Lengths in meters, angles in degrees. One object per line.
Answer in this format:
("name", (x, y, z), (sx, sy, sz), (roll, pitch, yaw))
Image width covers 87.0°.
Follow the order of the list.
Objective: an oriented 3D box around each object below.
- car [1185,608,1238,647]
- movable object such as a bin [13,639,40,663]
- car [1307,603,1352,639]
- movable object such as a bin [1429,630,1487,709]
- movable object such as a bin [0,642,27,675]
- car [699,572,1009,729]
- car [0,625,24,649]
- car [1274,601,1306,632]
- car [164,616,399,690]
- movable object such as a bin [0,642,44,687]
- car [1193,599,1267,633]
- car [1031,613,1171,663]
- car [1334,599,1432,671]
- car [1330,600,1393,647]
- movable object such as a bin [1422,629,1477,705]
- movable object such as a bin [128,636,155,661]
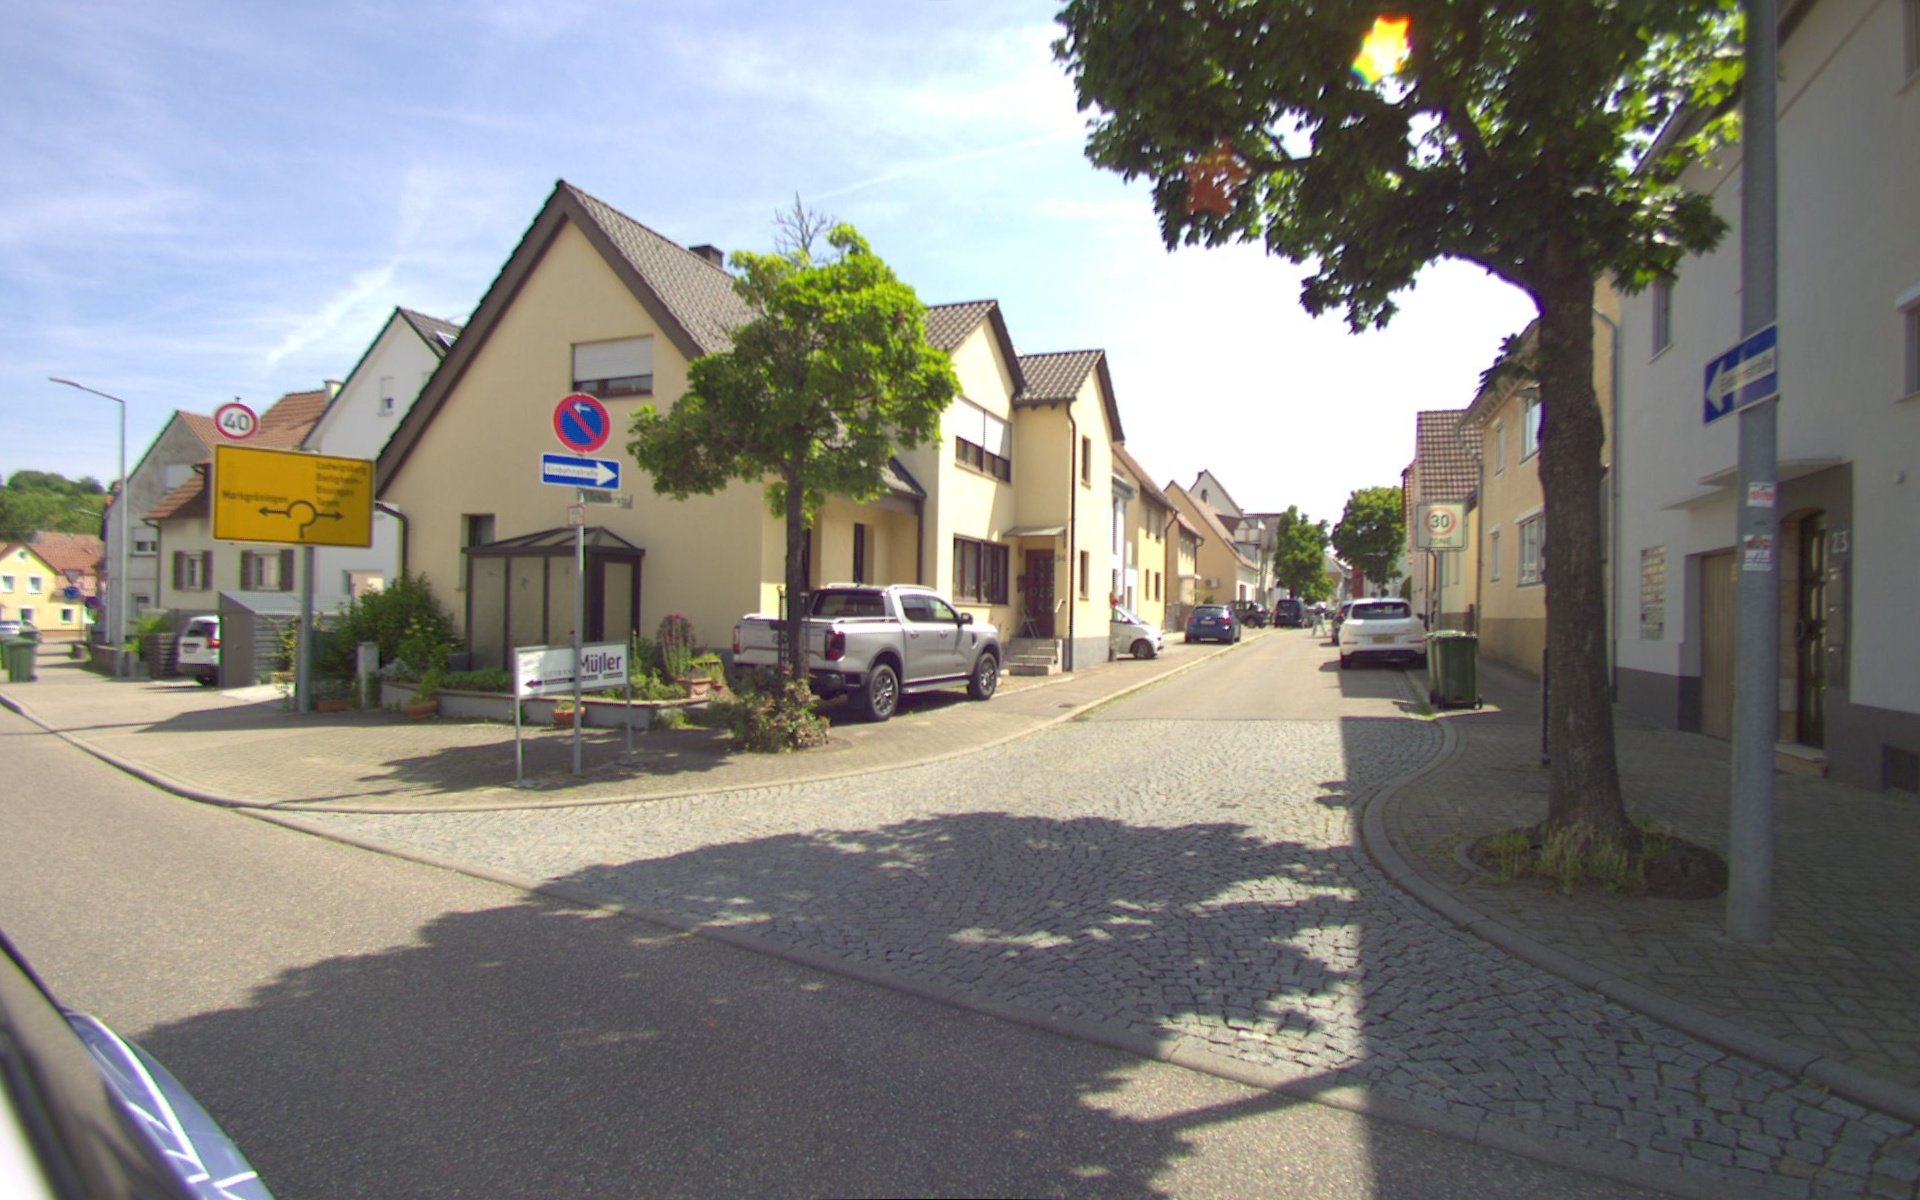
("car", (9.345, 0.997, 37.404), (1.773, 1.383, 3.980), (-1, -1, 16))
("movable object such as a bin", (-42.524, 2.307, 46.107), (0.798, 1.053, 0.829), (0, -1, -37))
("car", (16.528, 0.921, 45.314), (1.776, 1.526, 3.974), (-1, -1, 20))
("movable object such as a bin", (7.057, 0.973, 14.361), (0.622, 1.080, 0.646), (-1, -1, 17))
("movable object such as a bin", (-31.449, 1.944, 33.478), (0.650, 1.065, 0.783), (-2, -2, 40))
("car", (-1.319, 0.679, 15.117), (2.165, 1.911, 5.073), (-1, -2, 28))
("car", (-61.237, 2.334, 64.736), (1.932, 1.497, 4.464), (1, -2, -42))
("car", (20.666, 1.024, 63.261), (1.667, 1.887, 3.971), (-1, -1, 21))
("car", (-16.484, 1.214, 24.825), (1.992, 1.635, 4.370), (0, -1, 30))
("movable object such as a bin", (-23.929, 1.639, 25.802), (0.818, 1.085, 0.816), (-2, -2, 44))
("car", (15.830, 0.957, 59.366), (3.977, 1.887, 1.665), (-1, -1, 25))
("car", (4.006, 1.062, 28.749), (3.687, 1.359, 1.605), (-1, -1, 22))
("car", (9.729, 0.775, 23.537), (1.775, 1.526, 3.976), (-1, -1, 18))
("car", (13.409, 0.788, 33.939), (1.656, 1.488, 3.817), (-1, -1, 17))
("movable object such as a bin", (7.243, 0.980, 14.998), (0.622, 1.080, 0.646), (-1, -1, 17))
("movable object such as a bin", (-36.354, 2.159, 44.959), (0.639, 1.094, 0.681), (-1, -1, 17))
